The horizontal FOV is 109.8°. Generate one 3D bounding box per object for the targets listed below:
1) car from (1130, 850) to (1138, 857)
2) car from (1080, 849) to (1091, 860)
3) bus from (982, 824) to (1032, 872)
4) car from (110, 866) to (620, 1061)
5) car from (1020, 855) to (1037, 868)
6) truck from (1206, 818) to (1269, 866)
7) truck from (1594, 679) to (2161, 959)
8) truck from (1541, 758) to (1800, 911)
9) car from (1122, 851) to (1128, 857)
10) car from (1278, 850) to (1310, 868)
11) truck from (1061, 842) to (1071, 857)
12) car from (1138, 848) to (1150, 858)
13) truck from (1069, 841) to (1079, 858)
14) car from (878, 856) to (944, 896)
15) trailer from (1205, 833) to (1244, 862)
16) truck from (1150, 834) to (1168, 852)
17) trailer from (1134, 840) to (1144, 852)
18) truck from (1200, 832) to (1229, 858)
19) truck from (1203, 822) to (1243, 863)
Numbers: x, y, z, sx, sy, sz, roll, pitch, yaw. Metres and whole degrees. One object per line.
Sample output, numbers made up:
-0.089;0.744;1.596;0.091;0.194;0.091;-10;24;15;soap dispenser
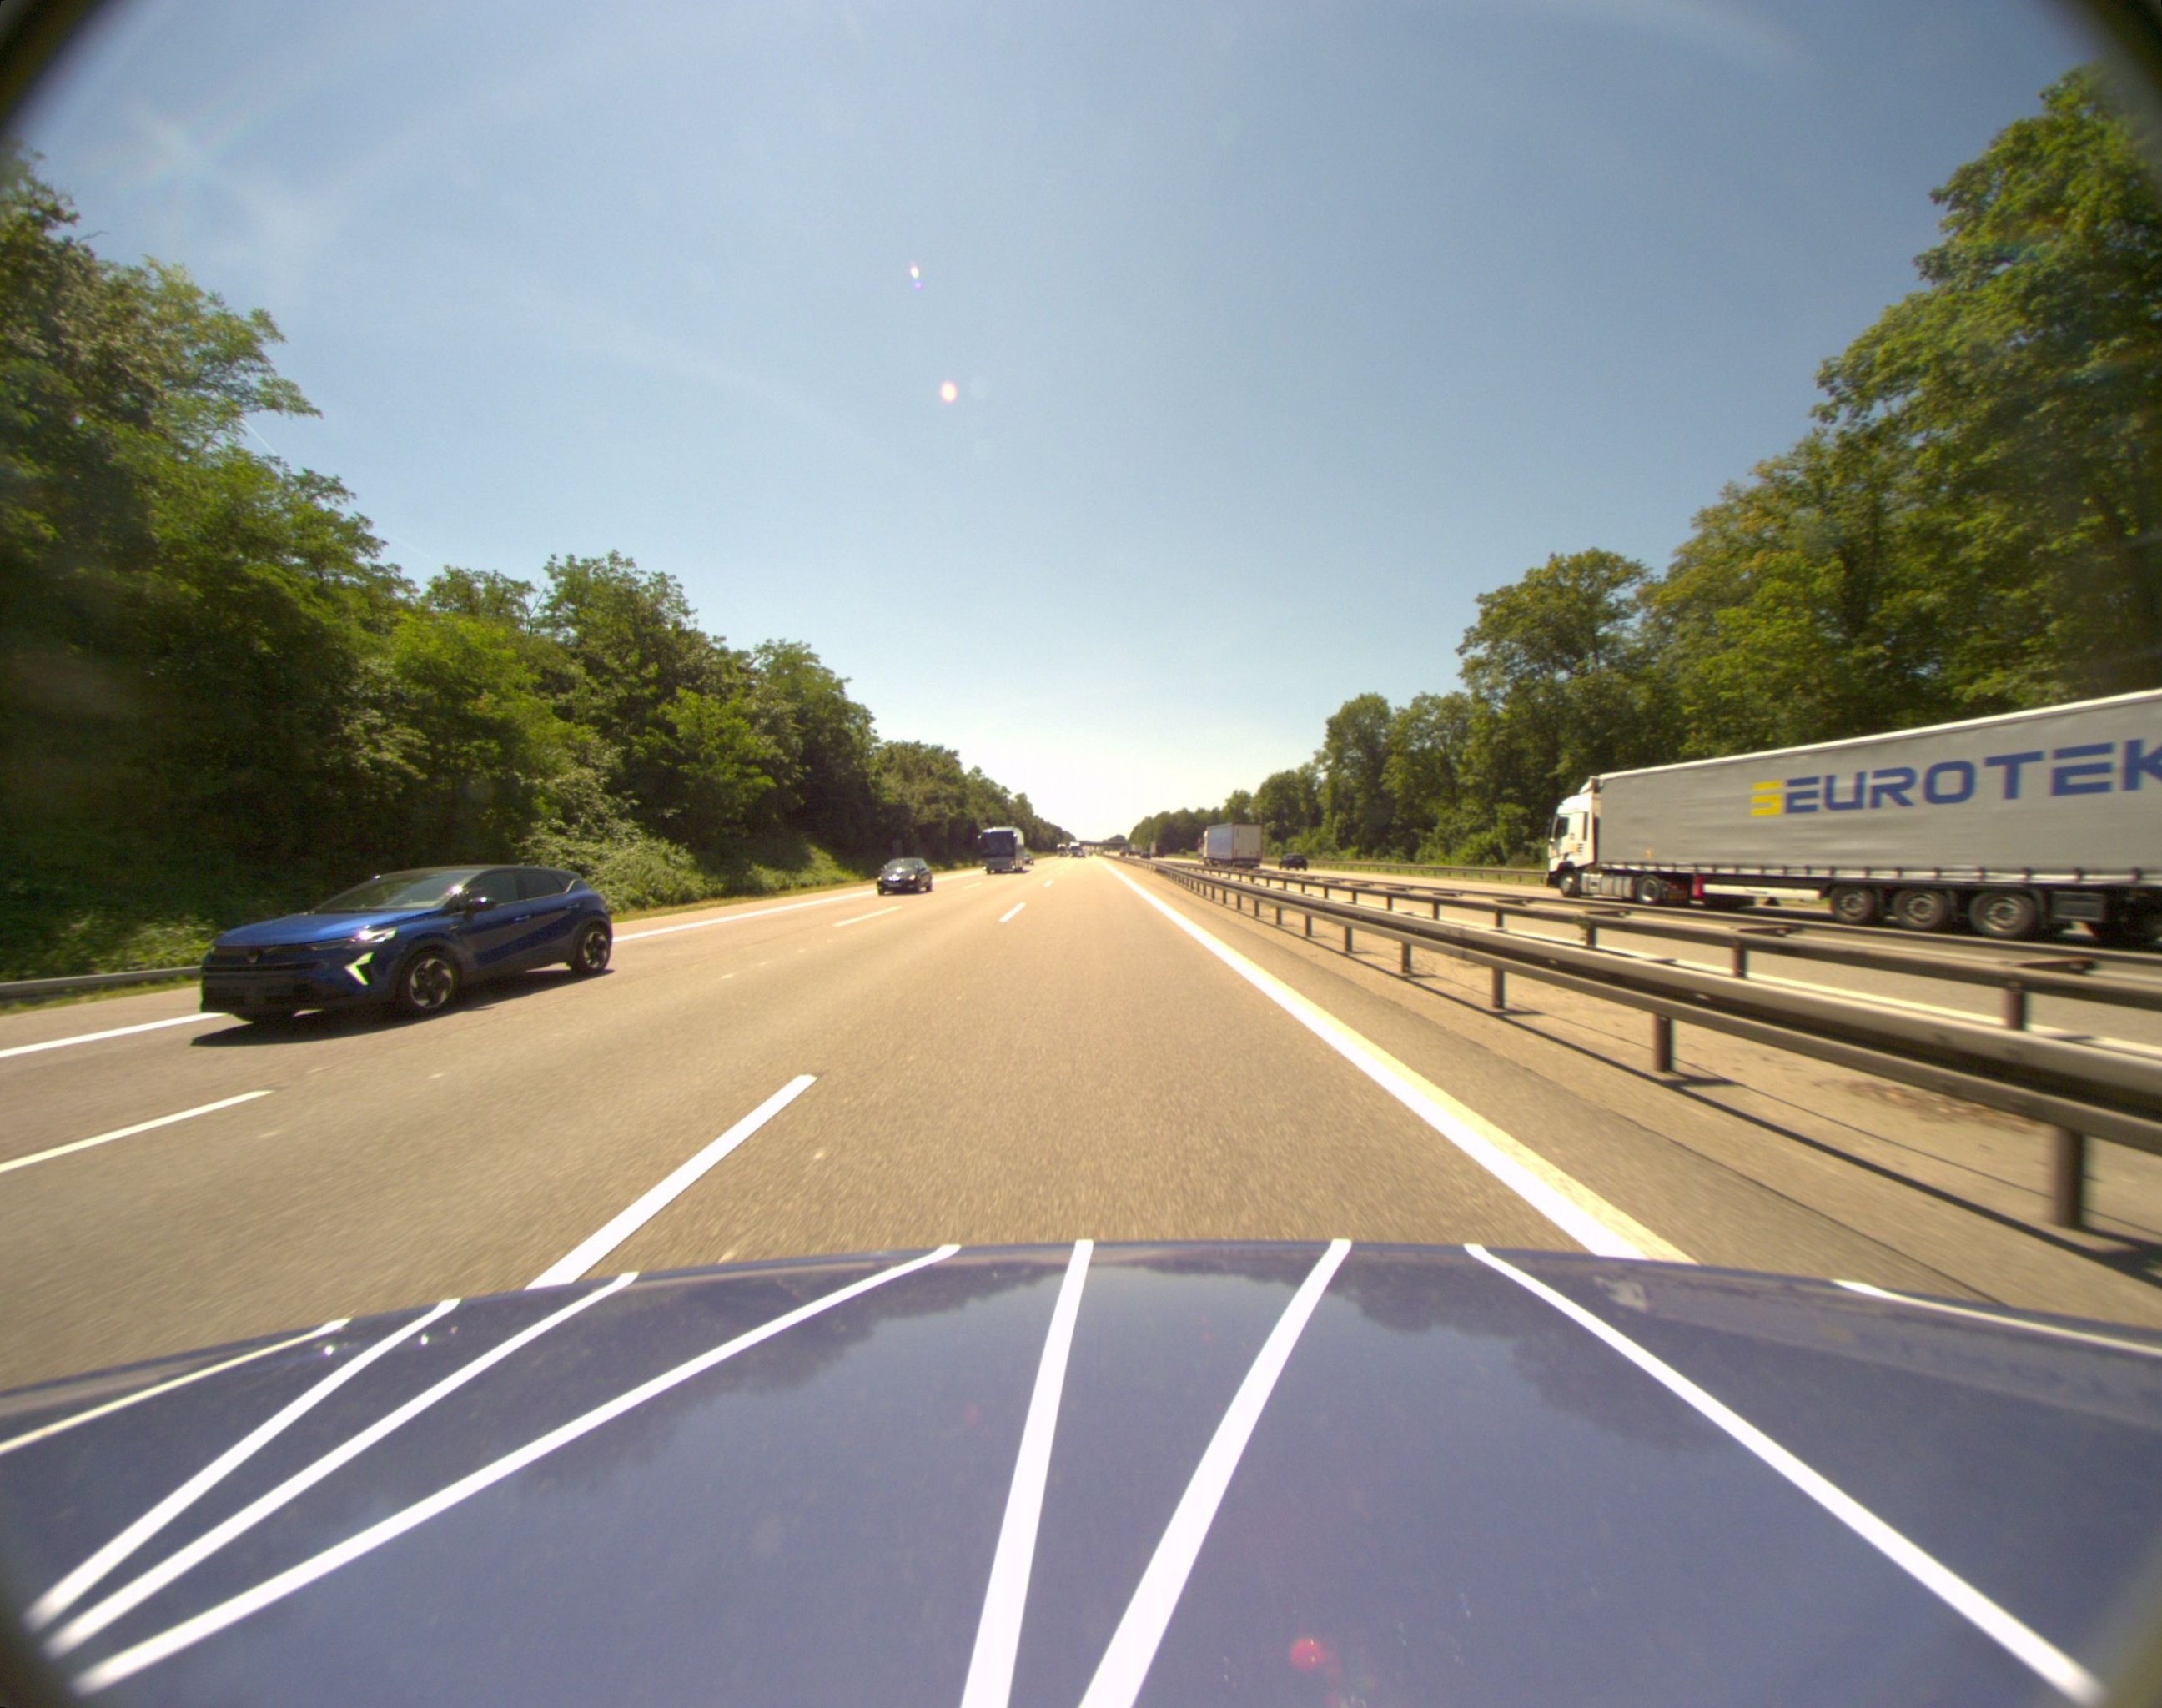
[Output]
16.928;-0.247;243.548;1.998;2.002;5.358;2;1;1;car
1.094;0.077;185.336;2.616;2.390;7.122;-2;1;0;car
-6.034;-0.532;63.999;2.617;3.532;13.680;-2;1;1;bus
-7.656;1.014;8.875;1.875;1.547;4.201;-2;1;1;car
-6.755;0.973;98.545;1.814;1.607;3.999;-1;1;1;car
14.551;-1.103;72.003;2.994;3.995;13.934;-2;1;0;truck
17.846;-0.580;17.043;3.074;4.227;13.958;2;1;0;truck
17.863;-0.566;23.743;2.977;4.039;6.458;2;1;1;truck
12.378;-0.130;214.073;1.736;1.576;4.644;-2;1;2;car
18.609;0.390;66.482;1.829;1.527;4.010;0;1;2;car
-4.758;-1.371;239.891;2.616;4.638;10.960;-2;1;0;truck
10.974;-0.191;132.884;1.811;1.582;4.668;-2;1;1;car
-1.933;-1.298;215.558;2.616;4.638;10.960;-2;1;0;truck
-7.118;0.865;32.268;1.674;1.439;4.573;-2;1;0;car
18.597;-0.906;99.286;2.786;3.374;13.288;-2;1;1;trailer
20.402;-2.832;198.945;3.332;4.317;13.908;-2;1;0;truck
20.514;-2.787;270.147;2.585;3.967;8.557;-2;1;-1;trailer
18.793;-1.262;107.256;2.756;3.374;7.660;-2;1;1;truck
14.595;-1.201;78.553;2.994;3.996;6.040;-2;1;0;truck
